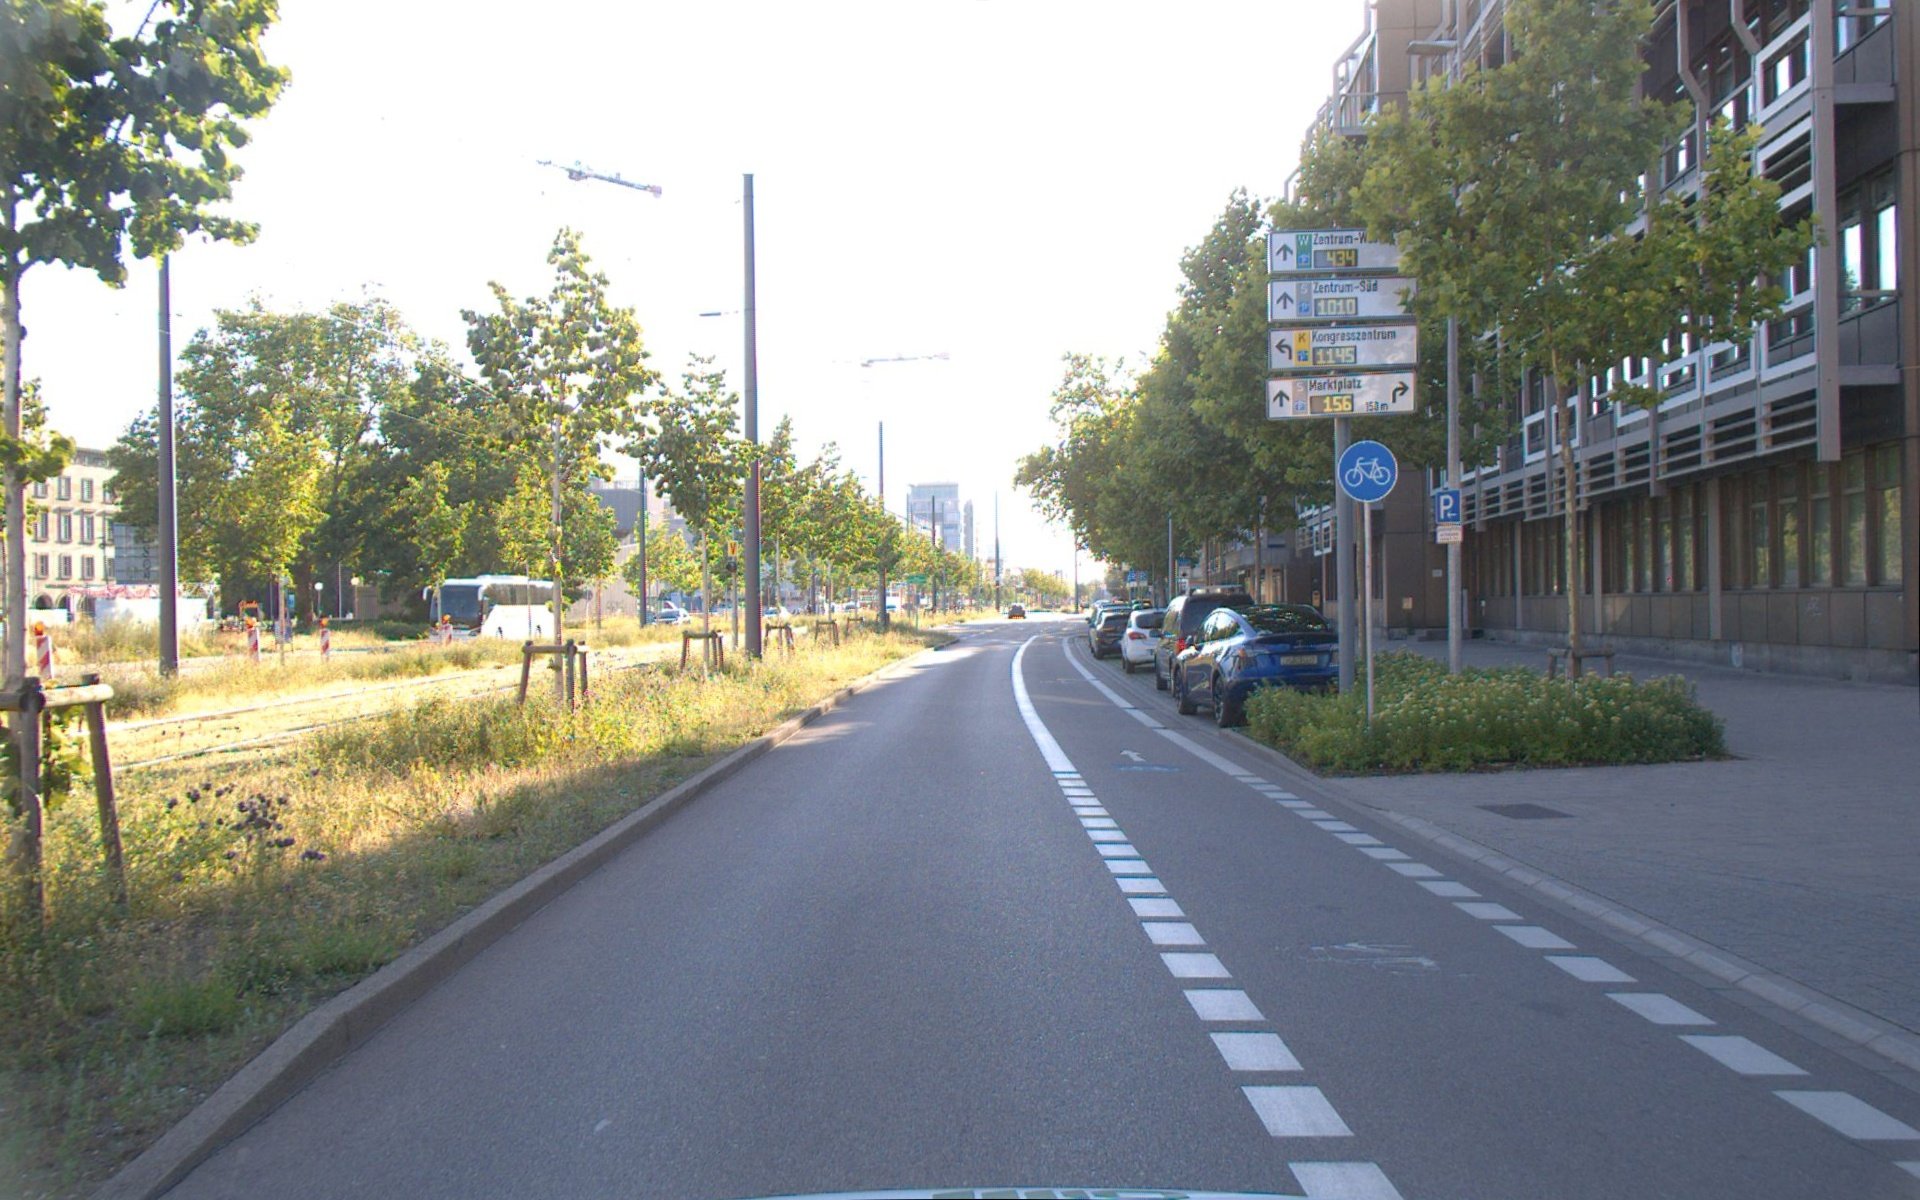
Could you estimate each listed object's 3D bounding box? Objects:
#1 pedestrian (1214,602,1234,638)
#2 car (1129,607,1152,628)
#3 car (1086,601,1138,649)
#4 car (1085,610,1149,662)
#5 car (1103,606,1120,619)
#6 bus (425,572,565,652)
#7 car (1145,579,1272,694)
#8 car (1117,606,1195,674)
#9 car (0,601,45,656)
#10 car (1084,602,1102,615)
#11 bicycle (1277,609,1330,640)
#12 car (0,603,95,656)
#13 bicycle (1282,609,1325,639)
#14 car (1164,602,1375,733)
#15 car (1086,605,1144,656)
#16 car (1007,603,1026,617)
[{"bbox_3d":[12.746,0.956,79.830,0.772,1.677,1.137,-2,-1,3],"label":"pedestrian"},{"bbox_3d":[13.602,1.317,124.805,1.670,1.443,4.279,-3,0,6],"label":"car"},{"bbox_3d":[5.820,0.928,63.809,1.692,1.718,4.515,-3,0,2],"label":"car"},{"bbox_3d":[4.898,1.110,52.112,1.757,1.474,4.378,-3,0,3],"label":"car"},{"bbox_3d":[18.402,1.535,201.302,1.899,1.511,3.927,-1,0,4],"label":"car"},{"bbox_3d":[-23.083,0.586,83.058,2.740,3.658,12.703,-1,0,3],"label":"bus"},{"bbox_3d":[4.644,0.659,31.451,1.699,1.953,4.393,-3,0,0],"label":"car"},{"bbox_3d":[4.831,0.963,41.176,1.629,1.516,4.205,-3,0,3],"label":"car"},{"bbox_3d":[-32.932,0.954,53.851,5.118,1.747,2.125,-1,0,2],"label":"car"},{"bbox_3d":[15.085,0.992,187.530,1.899,1.453,3.927,-1,0,4],"label":"car"},{"bbox_3d":[12.899,0.910,62.167,1.861,1.112,0.392,-2,-1,-3],"label":"bicycle"},{"bbox_3d":[-32.729,1.027,56.624,5.118,1.747,2.125,-1,0,2],"label":"car"},{"bbox_3d":[13.419,0.929,64.652,1.592,1.101,0.392,-2,-1,5],"label":"bicycle"},{"bbox_3d":[4.357,0.895,24.088,1.893,1.626,4.696,-3,0,-3],"label":"car"},{"bbox_3d":[5.386,1.039,57.879,1.692,1.650,4.217,-3,0,2],"label":"car"},{"bbox_3d":[5.657,1.001,165.916,1.739,1.453,4.002,0,0,4],"label":"car"}]
